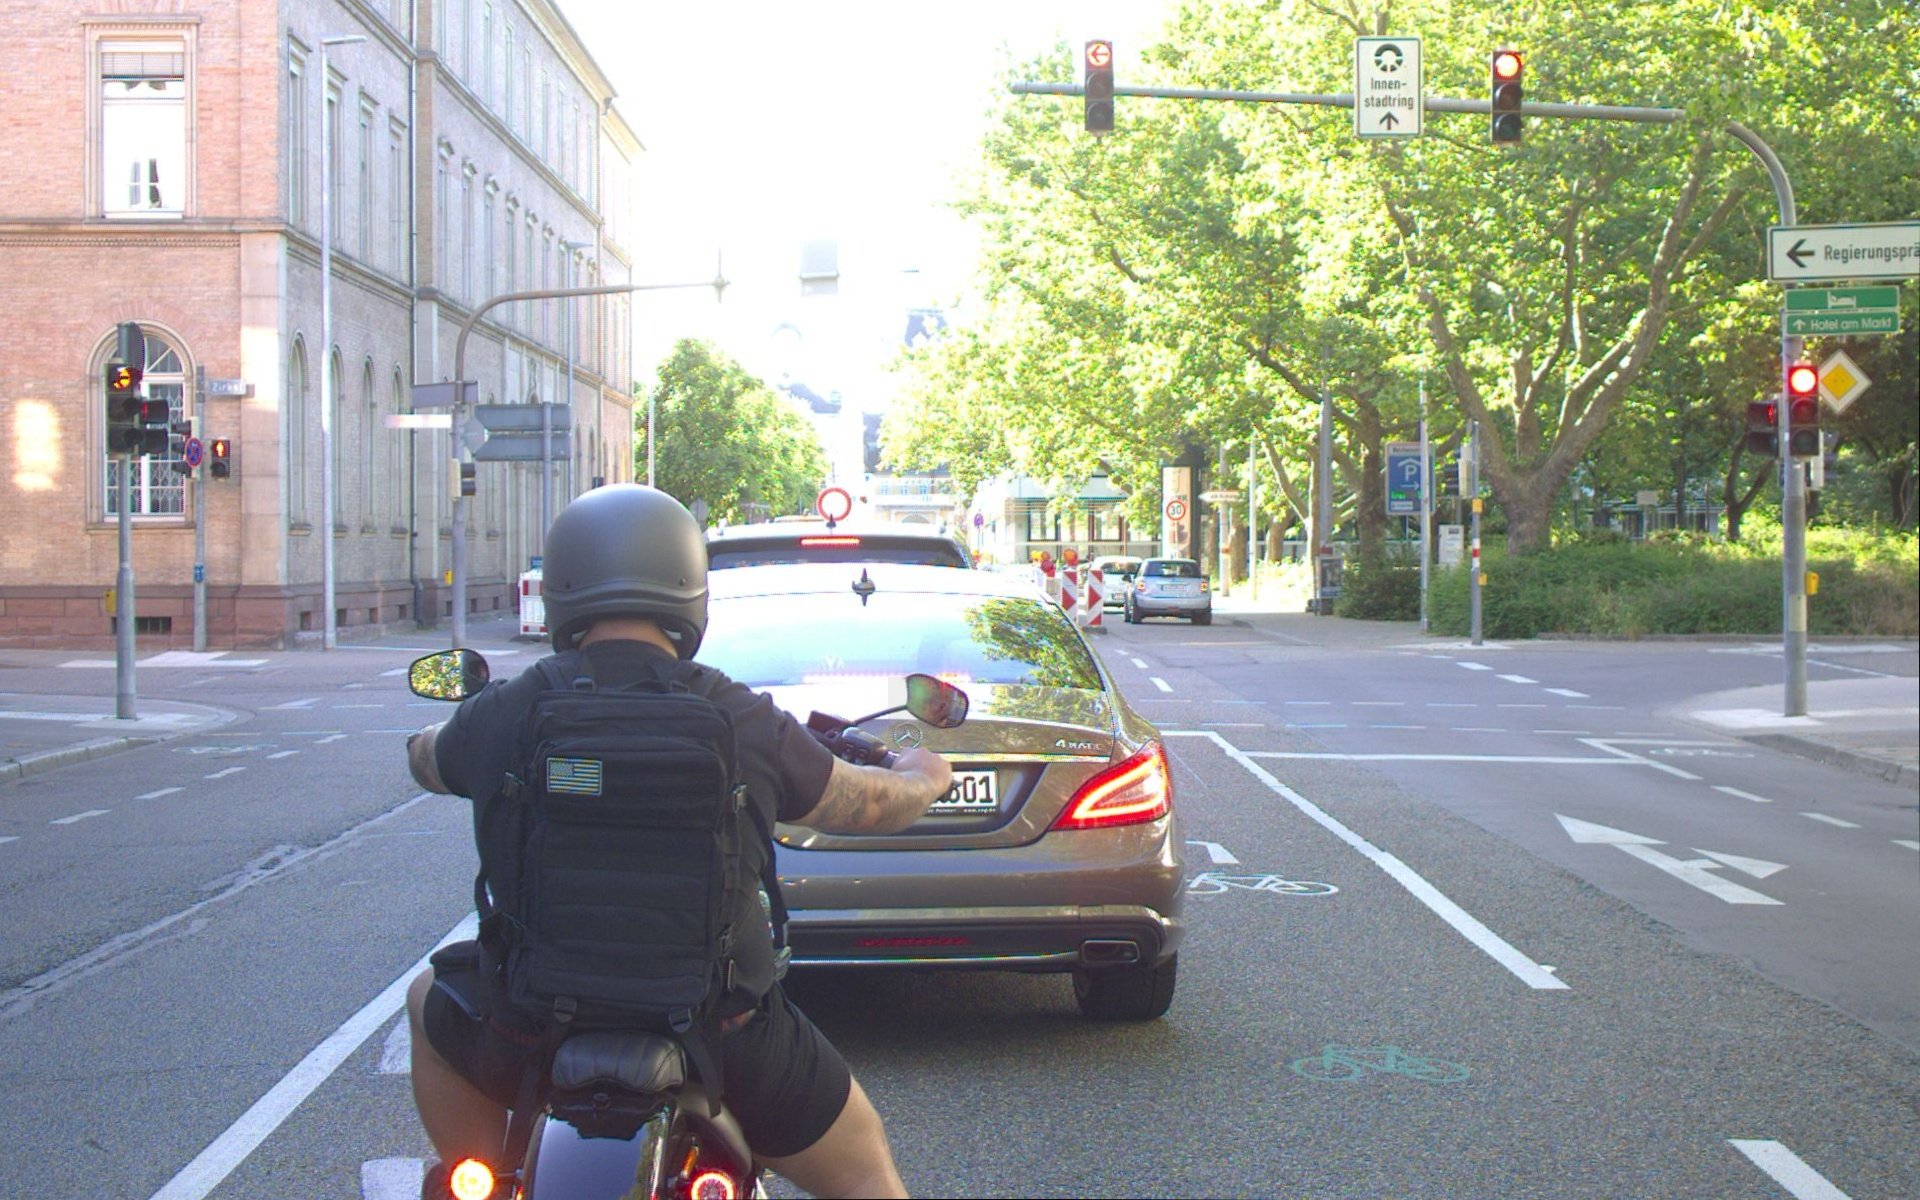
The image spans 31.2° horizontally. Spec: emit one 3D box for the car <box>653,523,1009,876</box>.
[{"bbox_3d":[-0.634,0.410,17.781,1.612,1.602,4.329,0,1,-1],"label":"car"}]

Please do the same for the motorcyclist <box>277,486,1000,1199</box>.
[{"bbox_3d":[-0.447,0.626,5.420,0.989,1.591,1.404,0,1,-1],"label":"motorcyclist"}]

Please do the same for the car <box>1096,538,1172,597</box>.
[{"bbox_3d":[4.536,-0.858,90.081,1.856,1.481,3.908,1,1,1],"label":"car"}]

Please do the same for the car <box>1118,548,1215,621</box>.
[{"bbox_3d":[4.365,-0.354,73.293,1.821,1.475,3.908,-1,1,0],"label":"car"}]

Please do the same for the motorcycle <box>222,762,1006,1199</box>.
[{"bbox_3d":[-0.451,0.882,5.579,0.989,1.075,2.452,0,1,-1],"label":"motorcycle"}]

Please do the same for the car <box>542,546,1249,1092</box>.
[{"bbox_3d":[-0.427,0.560,11.615,1.945,1.468,4.363,0,1,-7],"label":"car"}]
